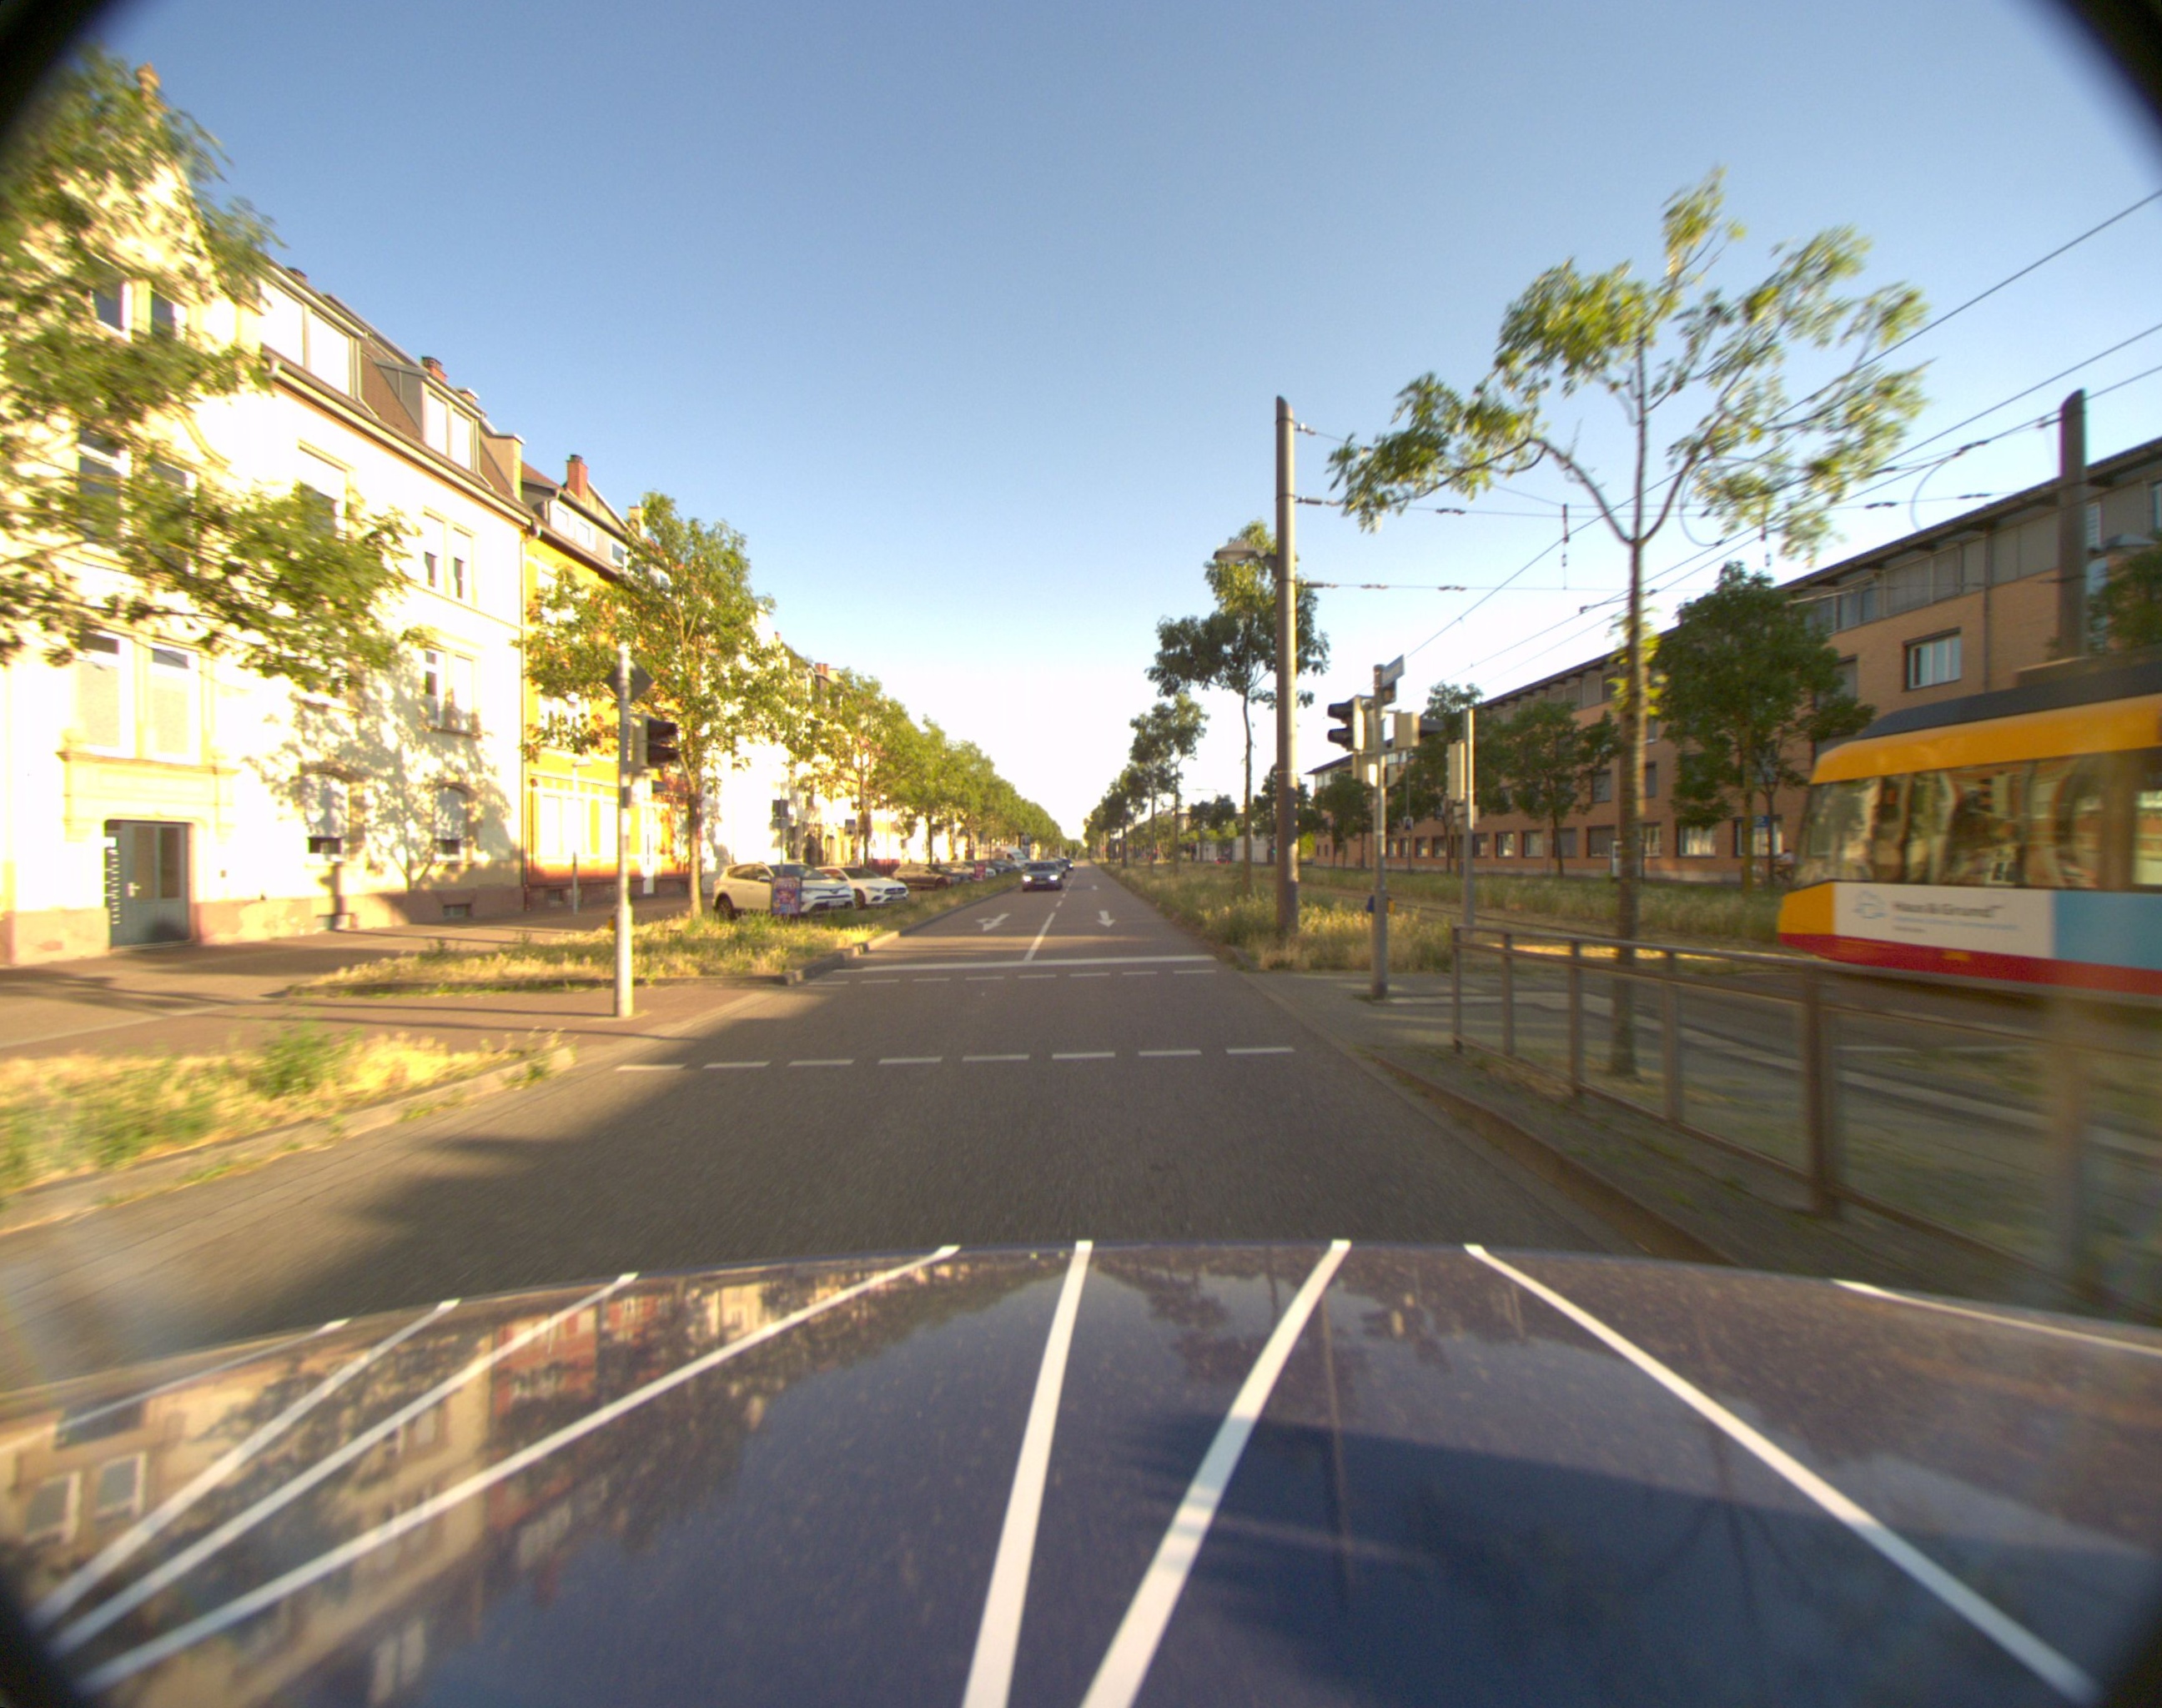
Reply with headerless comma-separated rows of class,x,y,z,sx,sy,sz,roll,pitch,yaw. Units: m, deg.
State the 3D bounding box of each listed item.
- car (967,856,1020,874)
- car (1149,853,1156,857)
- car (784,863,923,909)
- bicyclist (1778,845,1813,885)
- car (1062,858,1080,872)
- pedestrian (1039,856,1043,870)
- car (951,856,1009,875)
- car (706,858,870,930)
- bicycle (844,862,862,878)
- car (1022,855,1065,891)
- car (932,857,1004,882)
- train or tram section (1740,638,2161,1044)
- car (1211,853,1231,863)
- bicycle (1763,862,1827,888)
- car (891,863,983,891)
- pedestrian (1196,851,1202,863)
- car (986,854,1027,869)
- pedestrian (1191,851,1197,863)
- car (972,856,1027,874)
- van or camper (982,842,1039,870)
car,-7.185,0.905,62.249,4.042,1.429,1.730,-1,1,29
car,22.549,0.340,238.927,1.794,1.368,4.000,-1,0,0
car,-7.854,1.056,26.118,4.542,1.391,2.035,-1,1,31
bicyclist,29.825,0.443,31.745,0.697,1.664,0.825,-1,1,1
car,-1.147,1.276,91.040,1.870,1.586,3.952,-1,0,2
pedestrian,-5.502,1.233,105.467,0.514,2.002,0.599,-1,1,0
car,-7.975,0.905,59.573,4.424,1.408,1.889,-2,0,37
car,-7.808,0.980,20.094,4.420,1.681,1.920,-1,0,36
bicycle,-16.141,1.132,53.895,0.589,1.072,2.228,1,0,0
car,-1.845,0.893,38.355,1.999,1.655,3.999,-2,0,-2
car,-7.297,0.977,48.827,4.633,1.501,1.851,-1,0,36
train or tram section,10.749,-0.112,3.000,3.439,3.410,15.027,-1,0,1
car,18.412,0.512,100.057,1.794,1.368,4.000,-1,0,0
bicycle,29.840,0.865,31.807,0.711,1.046,2.094,-1,0,1
car,-7.382,1.128,38.871,4.570,1.340,1.900,0,0,33
pedestrian,16.361,0.386,105.345,0.515,1.675,0.548,-1,1,-28
car,-7.349,0.756,75.146,3.912,1.395,1.799,0,0,39
pedestrian,15.836,0.414,106.293,0.515,1.674,0.548,-1,-1,-30
car,-7.008,0.936,65.262,4.424,1.415,1.926,-2,0,33
van or camper,-7.249,0.183,78.373,5.635,2.796,2.208,0,0,32
